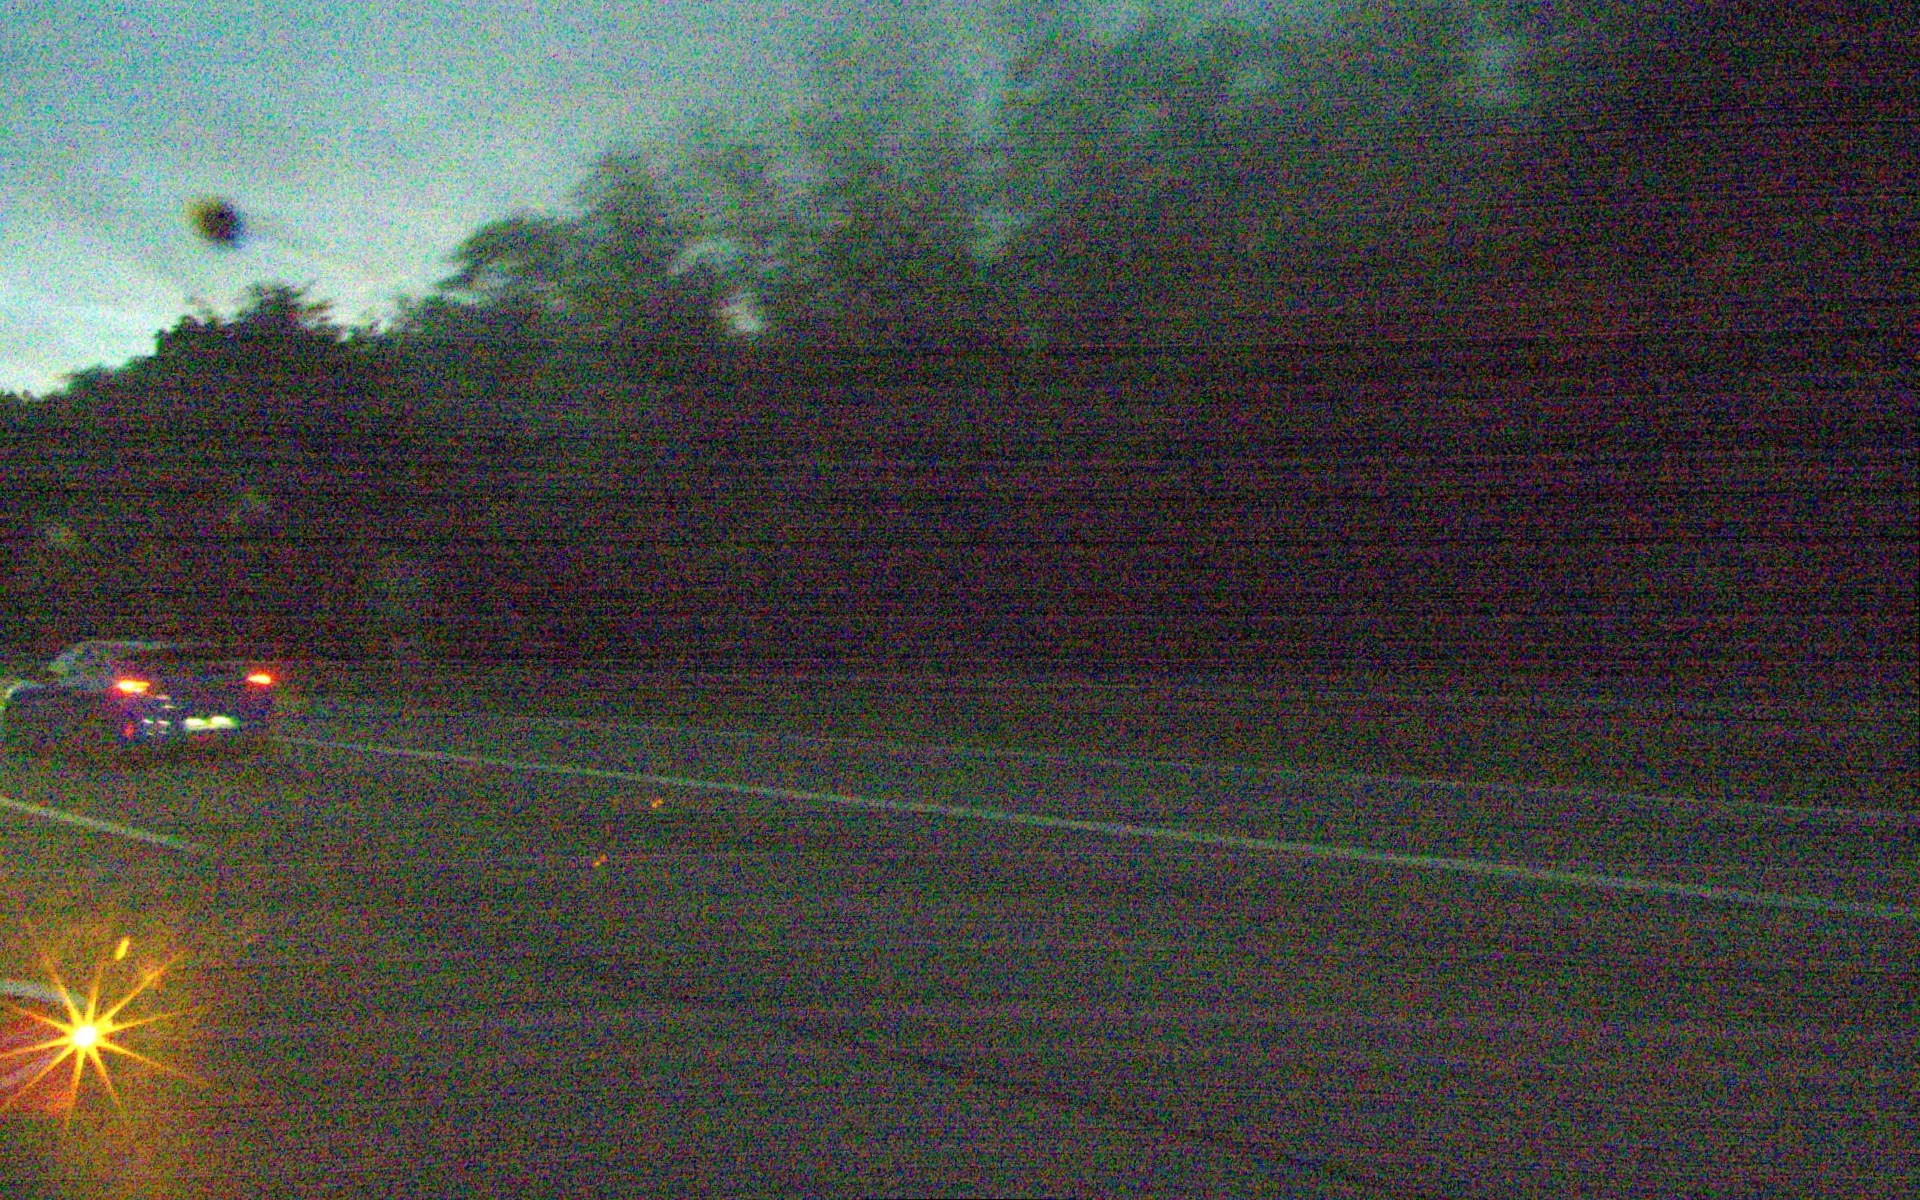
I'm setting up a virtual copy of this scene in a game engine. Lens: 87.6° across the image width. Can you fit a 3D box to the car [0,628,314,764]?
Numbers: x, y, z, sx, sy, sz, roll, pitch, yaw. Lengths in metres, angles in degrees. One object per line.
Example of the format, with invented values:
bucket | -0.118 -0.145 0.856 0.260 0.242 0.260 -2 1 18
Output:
car | -10.367 1.099 12.669 4.516 1.454 1.863 -1 -2 30
